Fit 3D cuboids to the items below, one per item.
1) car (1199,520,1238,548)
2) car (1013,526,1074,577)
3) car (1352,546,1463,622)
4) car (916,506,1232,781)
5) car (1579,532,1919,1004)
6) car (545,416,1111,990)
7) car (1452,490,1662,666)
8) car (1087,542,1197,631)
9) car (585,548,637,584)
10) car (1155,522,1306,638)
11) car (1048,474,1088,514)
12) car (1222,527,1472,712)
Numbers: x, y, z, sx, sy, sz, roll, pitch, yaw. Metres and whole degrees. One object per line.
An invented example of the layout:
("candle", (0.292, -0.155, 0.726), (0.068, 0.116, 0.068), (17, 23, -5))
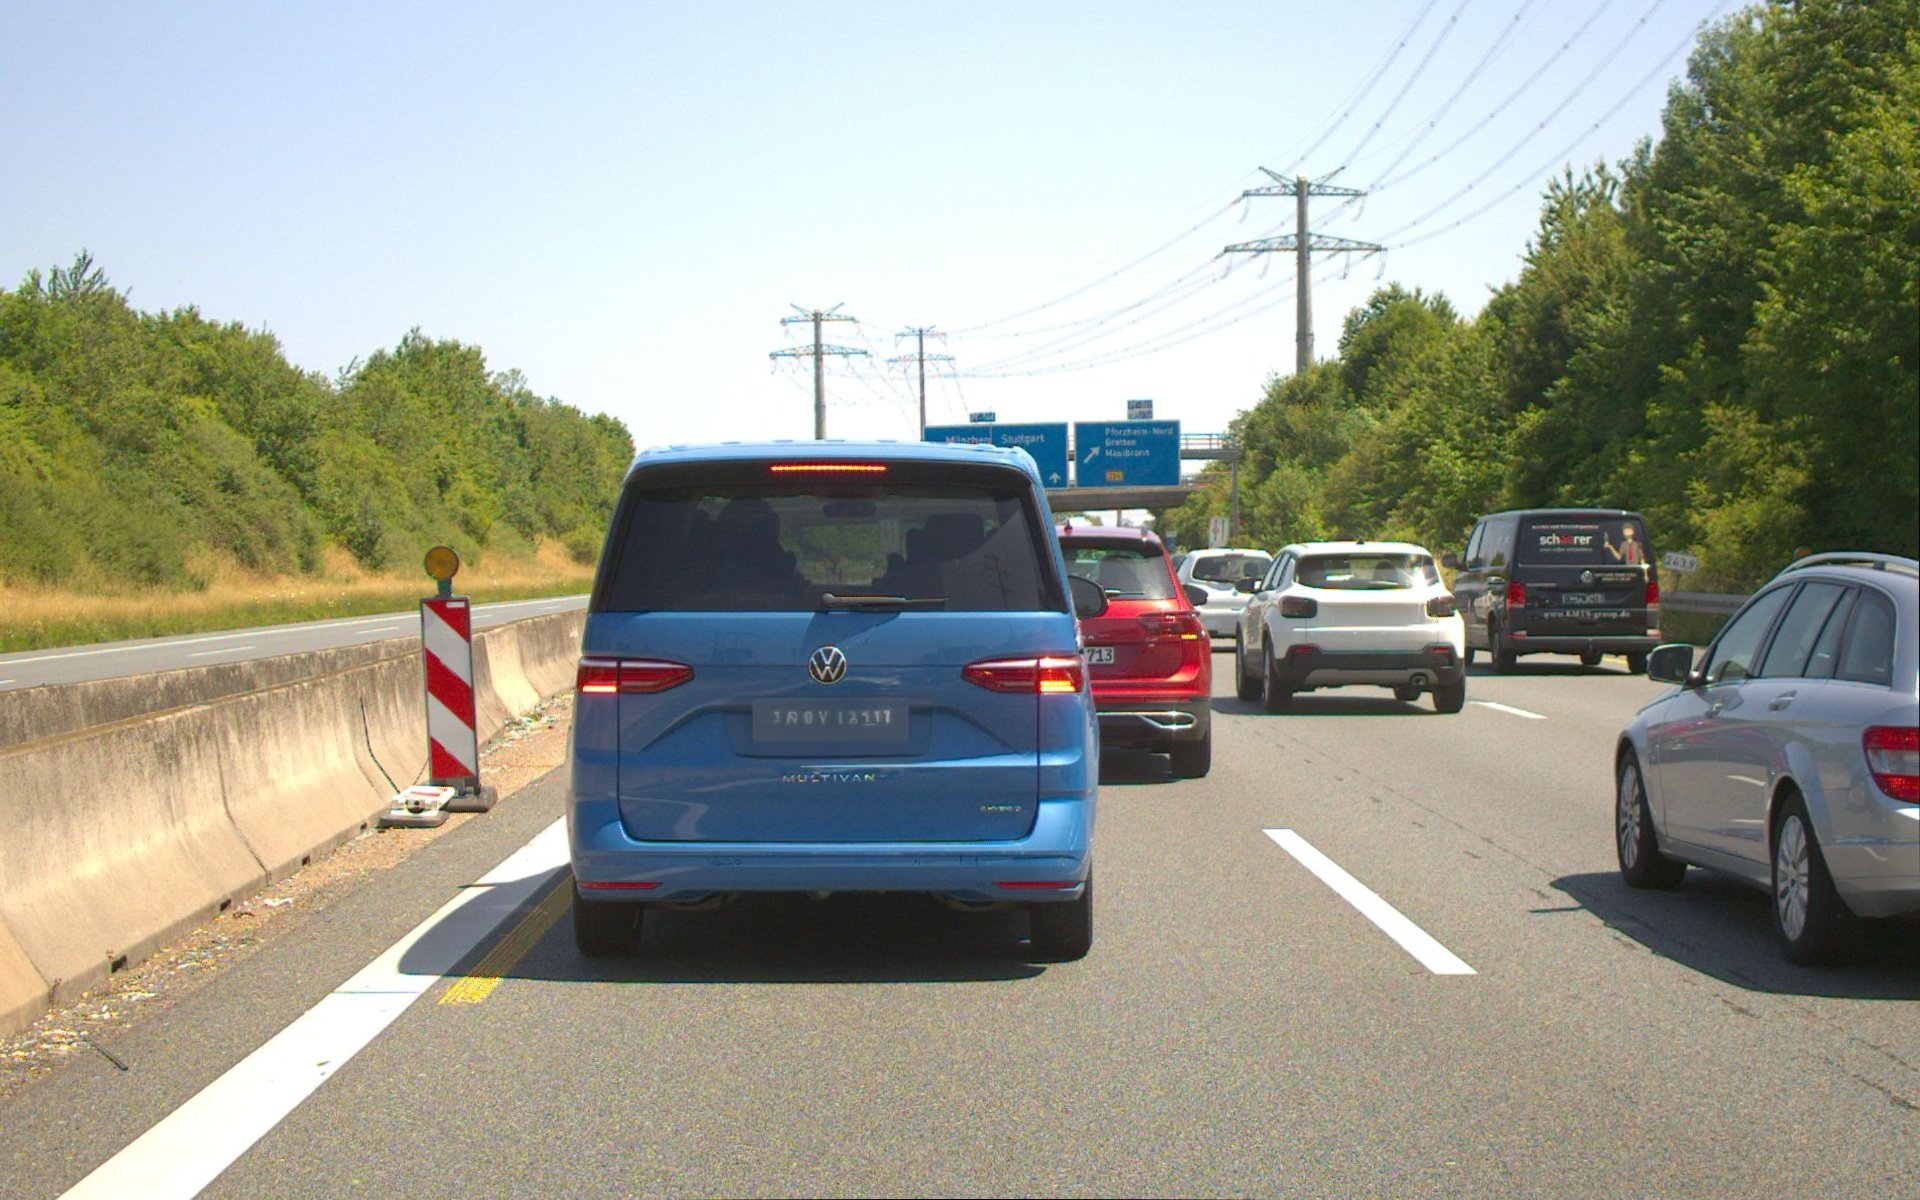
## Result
("car", (15.730, -4.034, 209.419), (1.874, 1.665, 4.360), (1, 1, -1))
("car", (2.681, -1.561, 111.215), (1.797, 1.588, 4.227), (1, 1, -1))
("car", (9.702, -0.366, 74.761), (1.797, 1.588, 4.227), (1, 1, -1))
("car", (0.674, 0.240, 23.380), (1.874, 1.665, 4.360), (1, 1, -1))
("car", (3.717, 0.521, 13.215), (1.770, 1.512, 4.360), (1, 1, -1))
("car", (-0.496, 0.320, 13.738), (1.874, 1.905, 4.360), (1, 1, -1))
("car", (7.175, -0.281, 41.702), (1.797, 2.007, 4.227), (1, 1, 0))
("car", (3.404, -0.275, 64.904), (1.797, 1.588, 4.227), (1, 1, -1))
("car", (-17.009, -1.671, 167.755), (1.993, 1.644, 4.630), (-3, 1, 0))
("car", (3.894, -0.303, 50.072), (1.797, 1.588, 4.227), (1, 1, -1))
("car", (6.901, -6.784, 219.831), (2.377, 2.420, 4.227), (1, 1, -1))
("car", (3.537, 0.144, 32.141), (1.797, 1.588, 4.227), (1, 1, -1))
